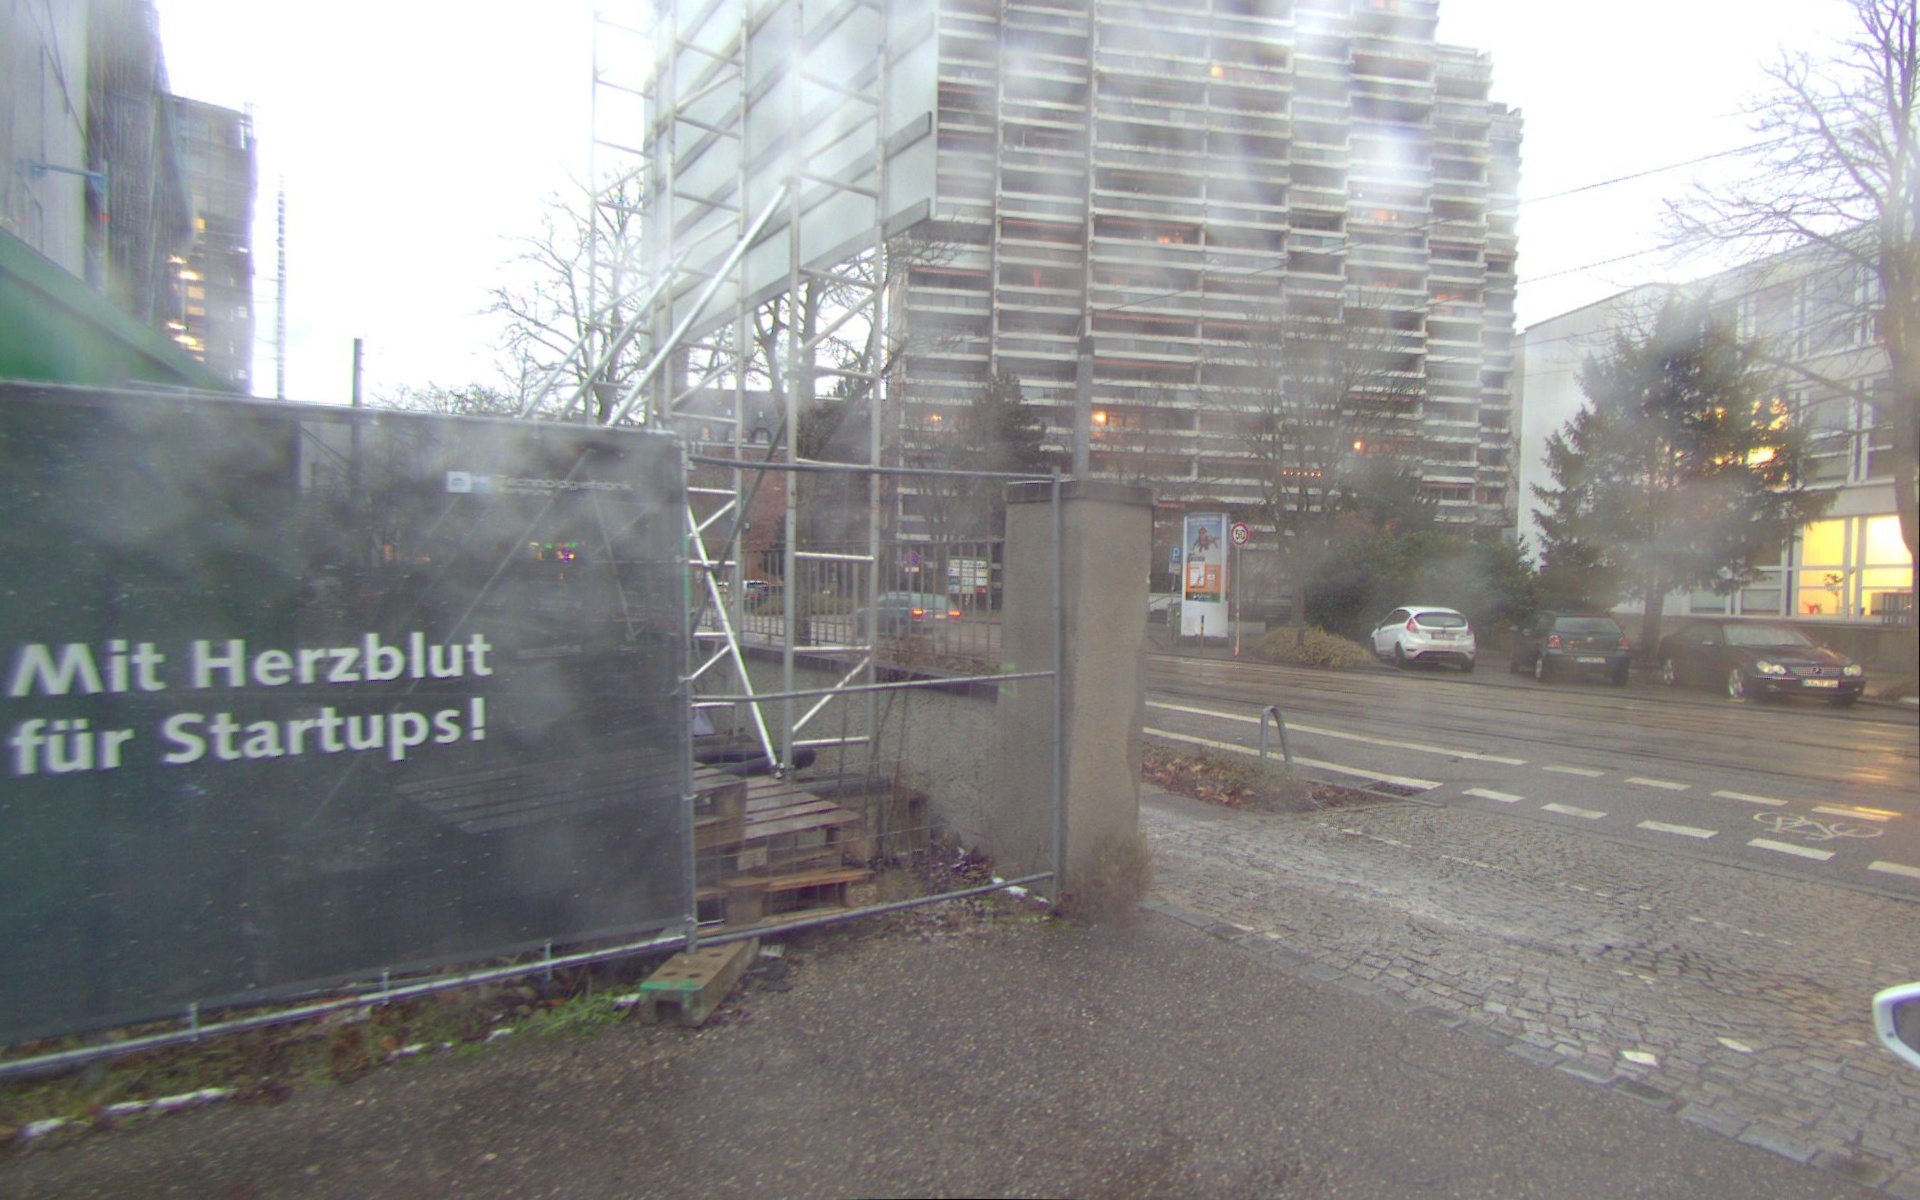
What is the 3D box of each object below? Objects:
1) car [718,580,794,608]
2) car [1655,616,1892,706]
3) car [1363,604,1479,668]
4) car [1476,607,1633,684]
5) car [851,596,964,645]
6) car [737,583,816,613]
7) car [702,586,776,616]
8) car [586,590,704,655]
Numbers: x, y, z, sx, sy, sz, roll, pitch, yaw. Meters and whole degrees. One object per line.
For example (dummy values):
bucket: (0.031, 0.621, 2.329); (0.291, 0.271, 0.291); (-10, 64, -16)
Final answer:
car: (-11.799, -0.335, 58.174); (3.952, 1.506, 1.659); (2, 0, -30)
car: (14.866, 1.037, 18.666); (1.818, 1.397, 4.002); (2, 0, 13)
car: (11.339, 0.843, 24.961); (1.818, 1.418, 4.002); (2, 0, 13)
car: (12.909, 0.925, 22.092); (1.818, 1.482, 4.002); (2, 0, 13)
car: (-1.731, 0.632, 31.909); (1.749, 1.430, 3.961); (2, 0, -34)
car: (-10.035, -0.102, 54.956); (3.952, 1.506, 1.659); (2, 0, -30)
car: (-13.360, 0.067, 60.760); (3.952, 1.662, 1.984); (2, 0, -30)
car: (-7.554, 0.497, 23.886); (1.736, 1.405, 3.702); (2, 0, -33)
